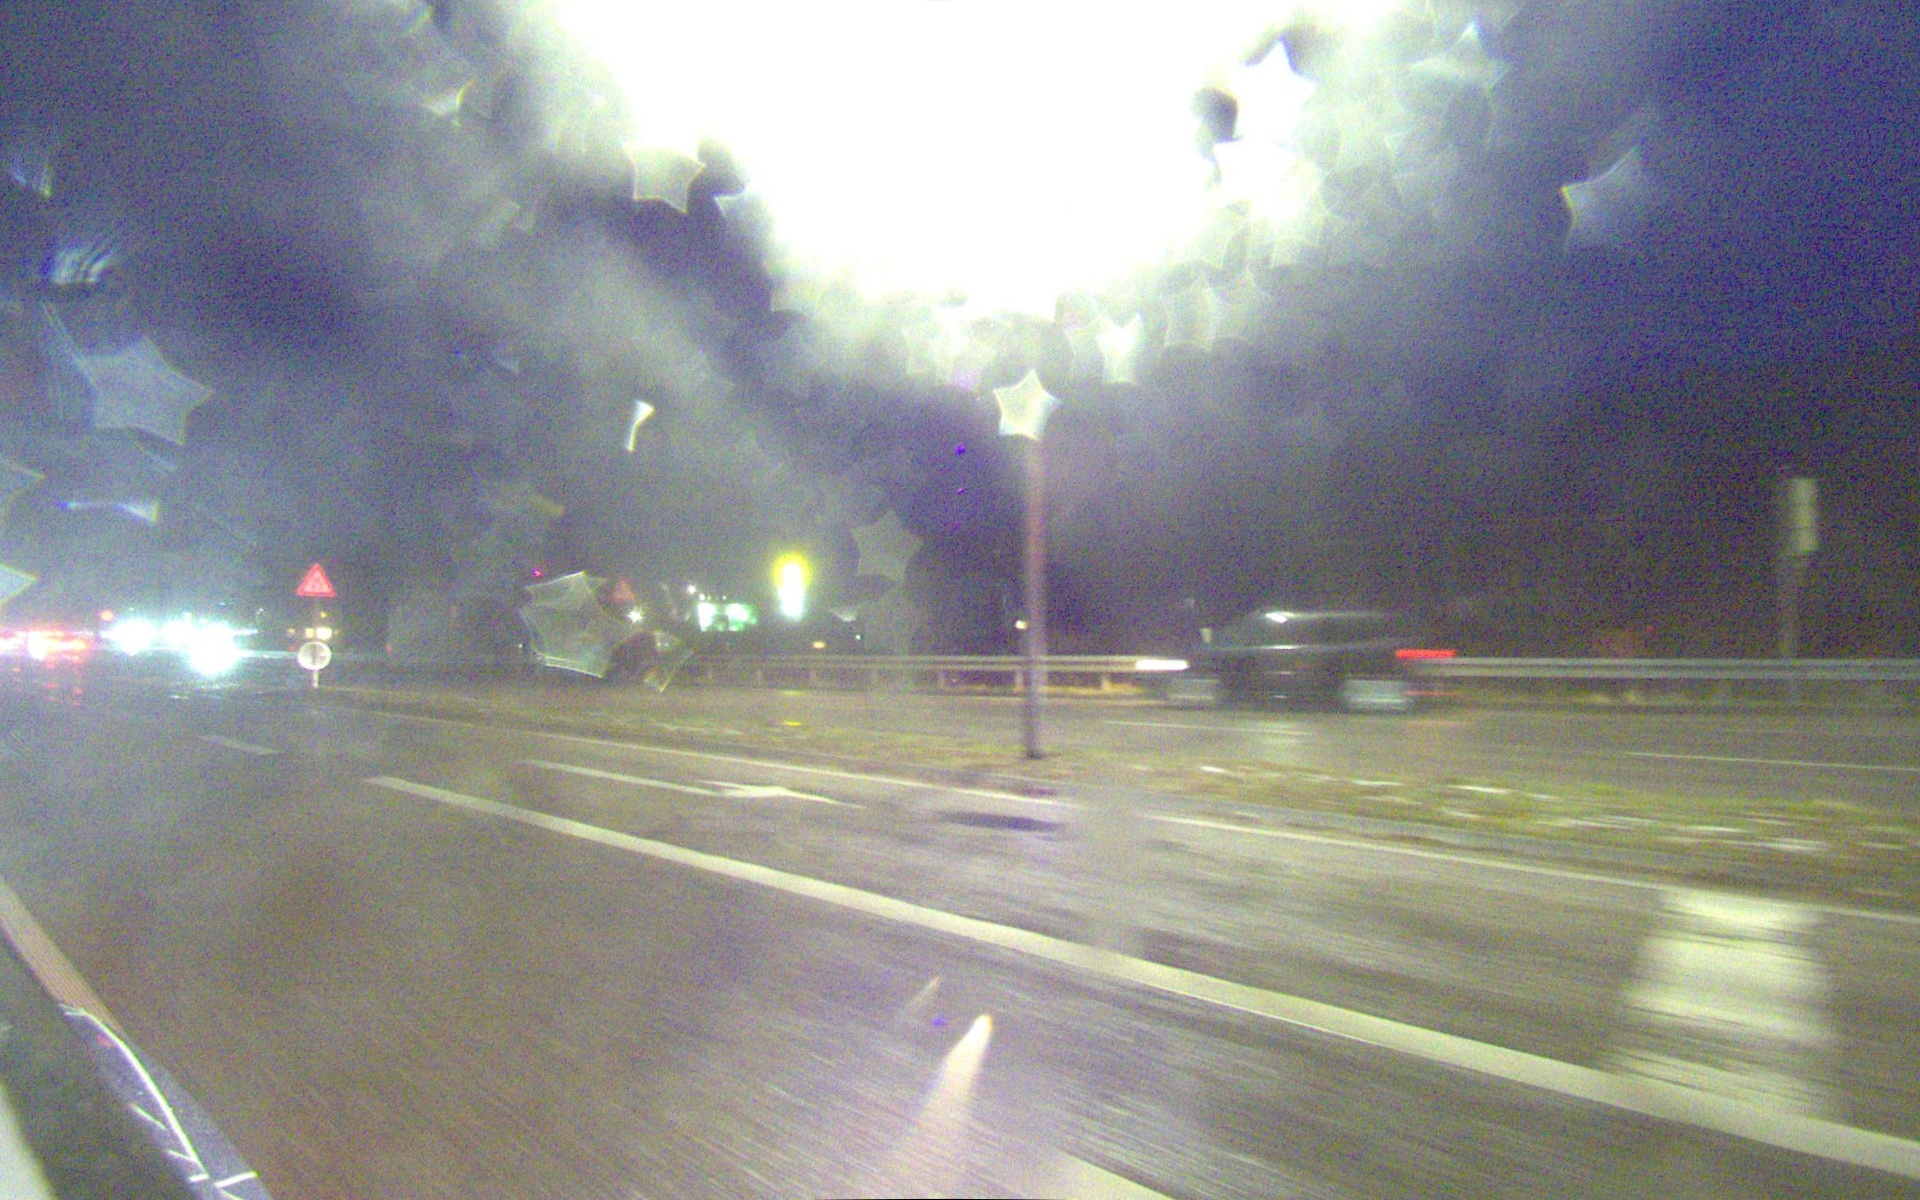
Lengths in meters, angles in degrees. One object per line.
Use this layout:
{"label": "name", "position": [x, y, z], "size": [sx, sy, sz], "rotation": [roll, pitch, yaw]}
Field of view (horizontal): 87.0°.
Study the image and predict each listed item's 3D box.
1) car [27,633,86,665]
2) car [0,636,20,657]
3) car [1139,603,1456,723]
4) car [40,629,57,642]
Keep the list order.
{"label": "car", "position": [-55.026, 2.947, 61.609], "size": [4.574, 1.713, 2.067], "rotation": [0, -1, 40]}
{"label": "car", "position": [-70.239, 3.369, 73.946], "size": [4.203, 1.435, 1.785], "rotation": [0, -1, 41]}
{"label": "car", "position": [5.188, 0.888, 15.784], "size": [4.479, 1.665, 1.699], "rotation": [0, -1, 24]}
{"label": "car", "position": [-152.267, 5.915, 169.122], "size": [1.969, 2.029, 4.006], "rotation": [0, -1, -40]}
